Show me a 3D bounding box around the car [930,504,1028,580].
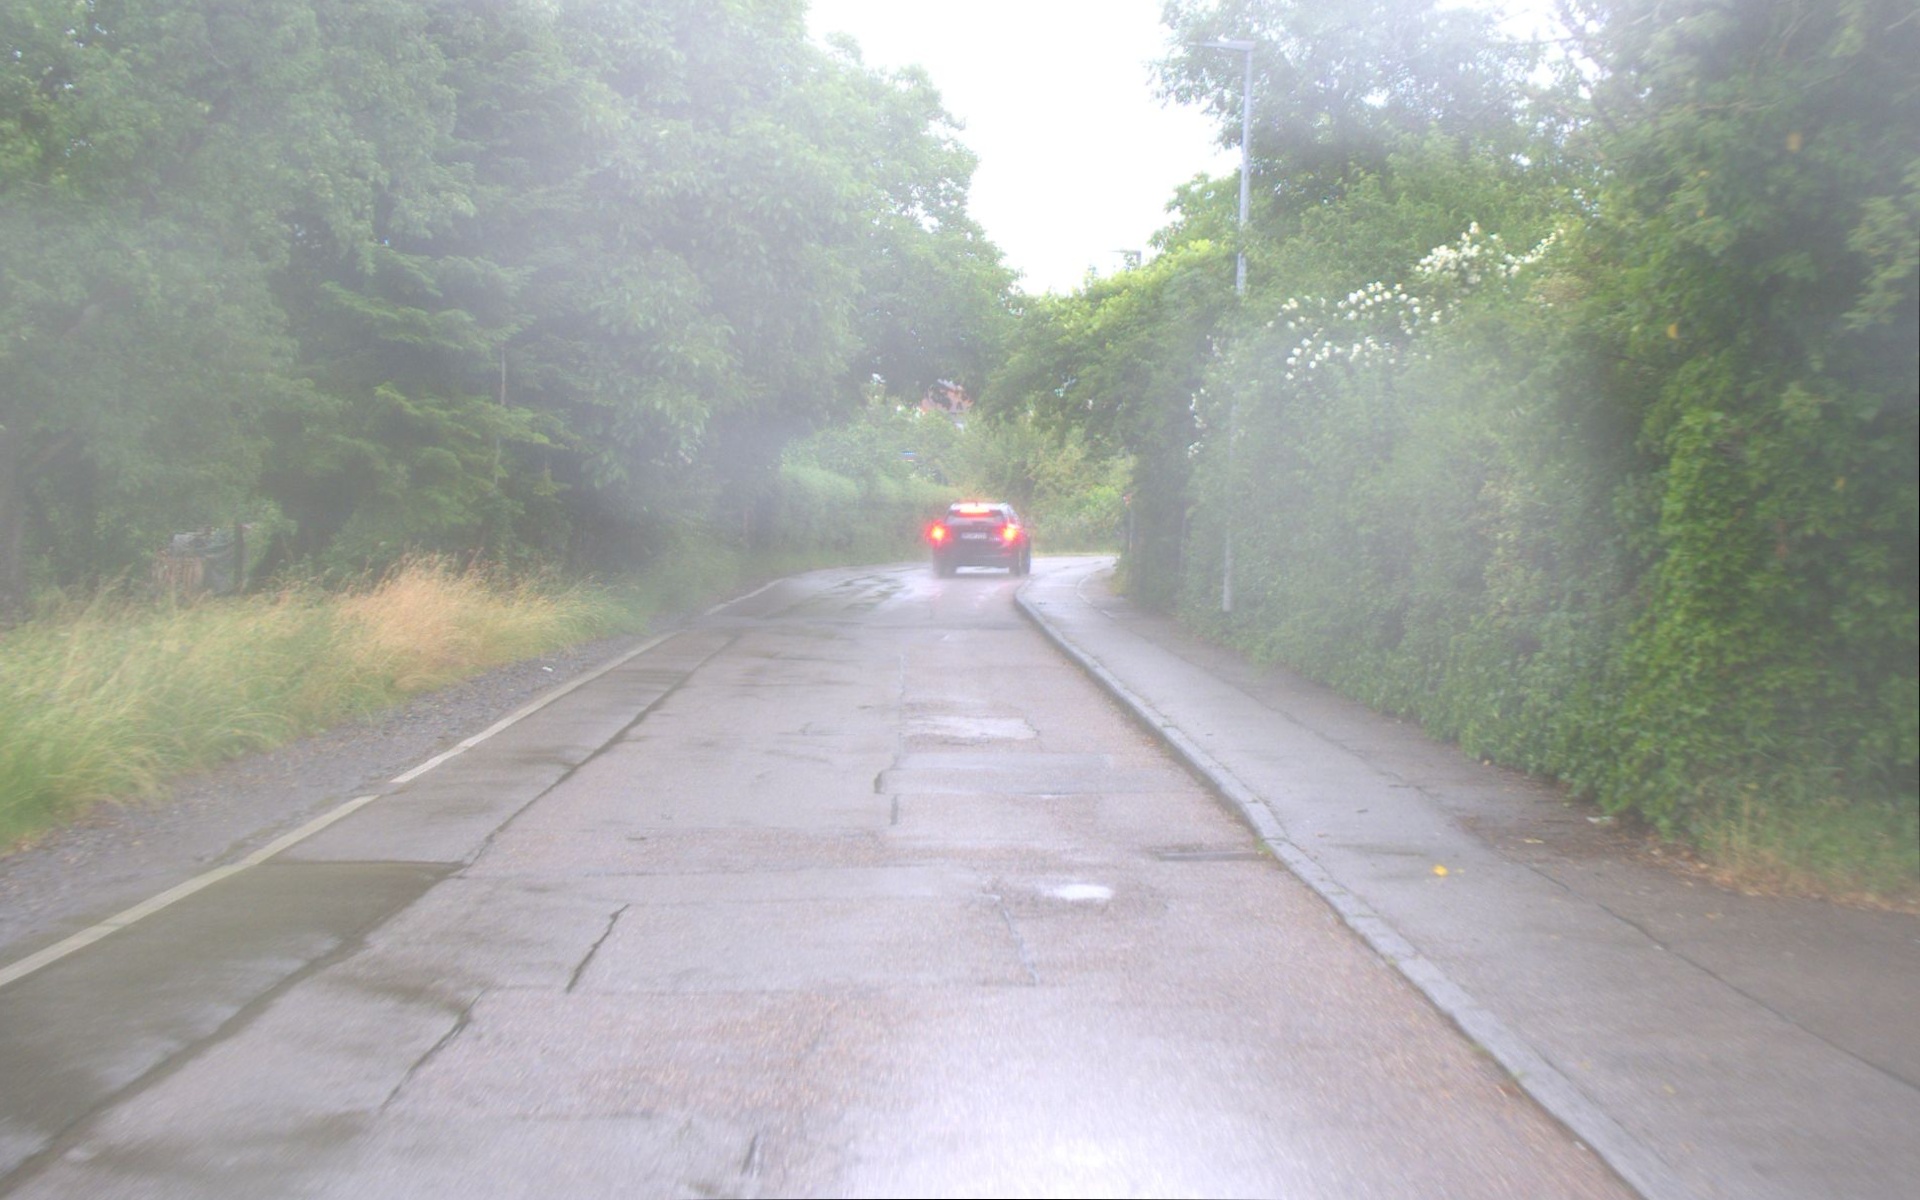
[{"bbox_3d":[0.403,-1.159,69.696,1.635,1.445,3.544,1,0,6],"label":"car"}]
